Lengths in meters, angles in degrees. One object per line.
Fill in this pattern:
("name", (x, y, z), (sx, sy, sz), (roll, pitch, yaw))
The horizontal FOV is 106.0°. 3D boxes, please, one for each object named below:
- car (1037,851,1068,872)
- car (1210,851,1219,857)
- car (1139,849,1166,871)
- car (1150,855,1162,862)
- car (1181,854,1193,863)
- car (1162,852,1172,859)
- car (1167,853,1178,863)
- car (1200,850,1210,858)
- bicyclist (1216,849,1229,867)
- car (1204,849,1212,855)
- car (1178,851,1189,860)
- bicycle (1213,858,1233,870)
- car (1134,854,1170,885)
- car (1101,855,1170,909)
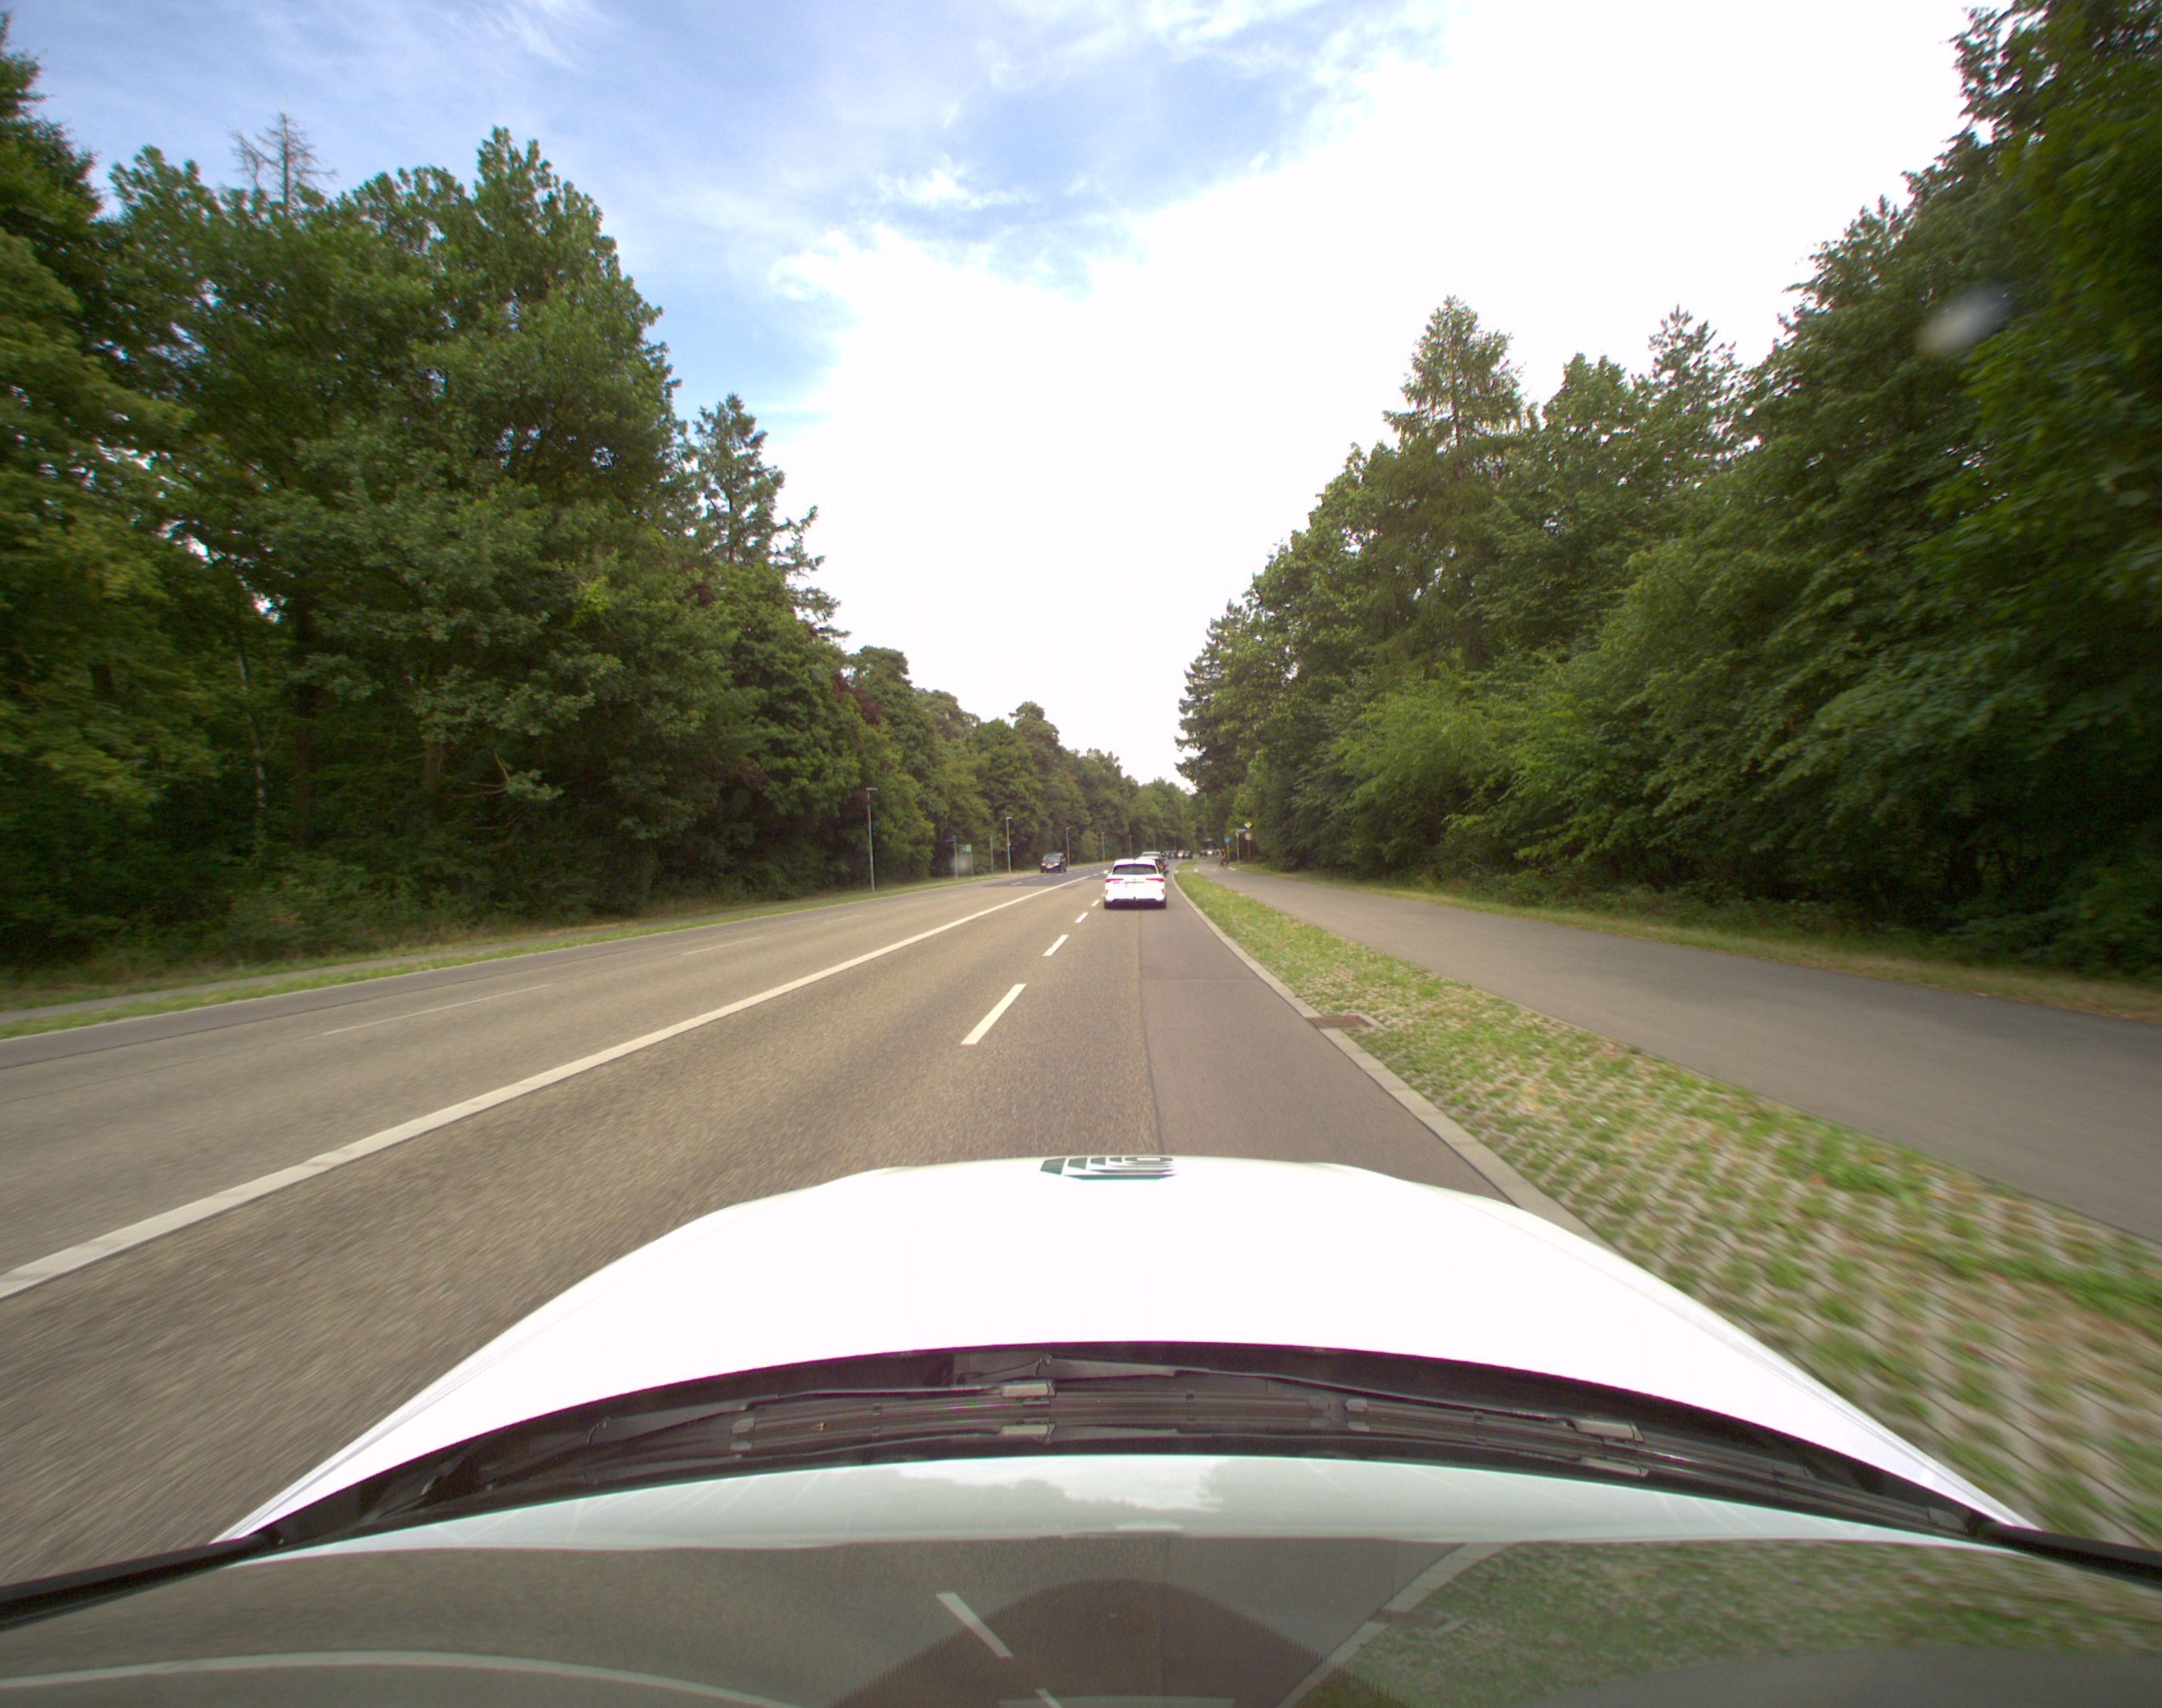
("car", (-2.492, 0.693, 72.332), (1.983, 1.791, 4.756), (0, -1, 6))
("car", (38.245, 0.067, 233.381), (1.978, 1.706, 4.018), (-2, 0, 17))
("car", (5.404, 0.477, 61.875), (1.985, 1.607, 4.004), (0, -1, 4))
("car", (14.880, 0.891, 161.783), (1.981, 1.435, 4.735), (-1, -1, 11))
("car", (20.514, 0.862, 157.167), (1.981, 1.783, 4.012), (0, -1, 11))
("car", (22.046, 0.394, 208.496), (1.981, 1.617, 4.677), (0, -1, 11))
("car", (18.466, 0.813, 163.634), (1.981, 1.783, 4.011), (0, -1, 10))
("car", (30.990, 0.058, 203.477), (1.979, 1.783, 4.014), (0, -1, 14))
("bicyclist", (11.946, 0.328, 68.692), (0.702, 1.470, 0.907), (-2, -1, 42))
("car", (38.622, -0.553, 247.078), (1.874, 1.816, 4.016), (0, -1, 15))
("car", (22.747, 0.311, 181.217), (1.980, 1.783, 4.013), (0, -1, 12))
("bicycle", (11.966, 0.824, 68.698), (0.702, 0.994, 2.195), (-2, -1, 36))
("car", (3.571, 0.768, 40.481), (1.627, 1.420, 4.007), (0, -1, 6))
("car", (1.630, 0.785, 24.384), (1.828, 1.410, 4.495), (-2, -1, 4))
